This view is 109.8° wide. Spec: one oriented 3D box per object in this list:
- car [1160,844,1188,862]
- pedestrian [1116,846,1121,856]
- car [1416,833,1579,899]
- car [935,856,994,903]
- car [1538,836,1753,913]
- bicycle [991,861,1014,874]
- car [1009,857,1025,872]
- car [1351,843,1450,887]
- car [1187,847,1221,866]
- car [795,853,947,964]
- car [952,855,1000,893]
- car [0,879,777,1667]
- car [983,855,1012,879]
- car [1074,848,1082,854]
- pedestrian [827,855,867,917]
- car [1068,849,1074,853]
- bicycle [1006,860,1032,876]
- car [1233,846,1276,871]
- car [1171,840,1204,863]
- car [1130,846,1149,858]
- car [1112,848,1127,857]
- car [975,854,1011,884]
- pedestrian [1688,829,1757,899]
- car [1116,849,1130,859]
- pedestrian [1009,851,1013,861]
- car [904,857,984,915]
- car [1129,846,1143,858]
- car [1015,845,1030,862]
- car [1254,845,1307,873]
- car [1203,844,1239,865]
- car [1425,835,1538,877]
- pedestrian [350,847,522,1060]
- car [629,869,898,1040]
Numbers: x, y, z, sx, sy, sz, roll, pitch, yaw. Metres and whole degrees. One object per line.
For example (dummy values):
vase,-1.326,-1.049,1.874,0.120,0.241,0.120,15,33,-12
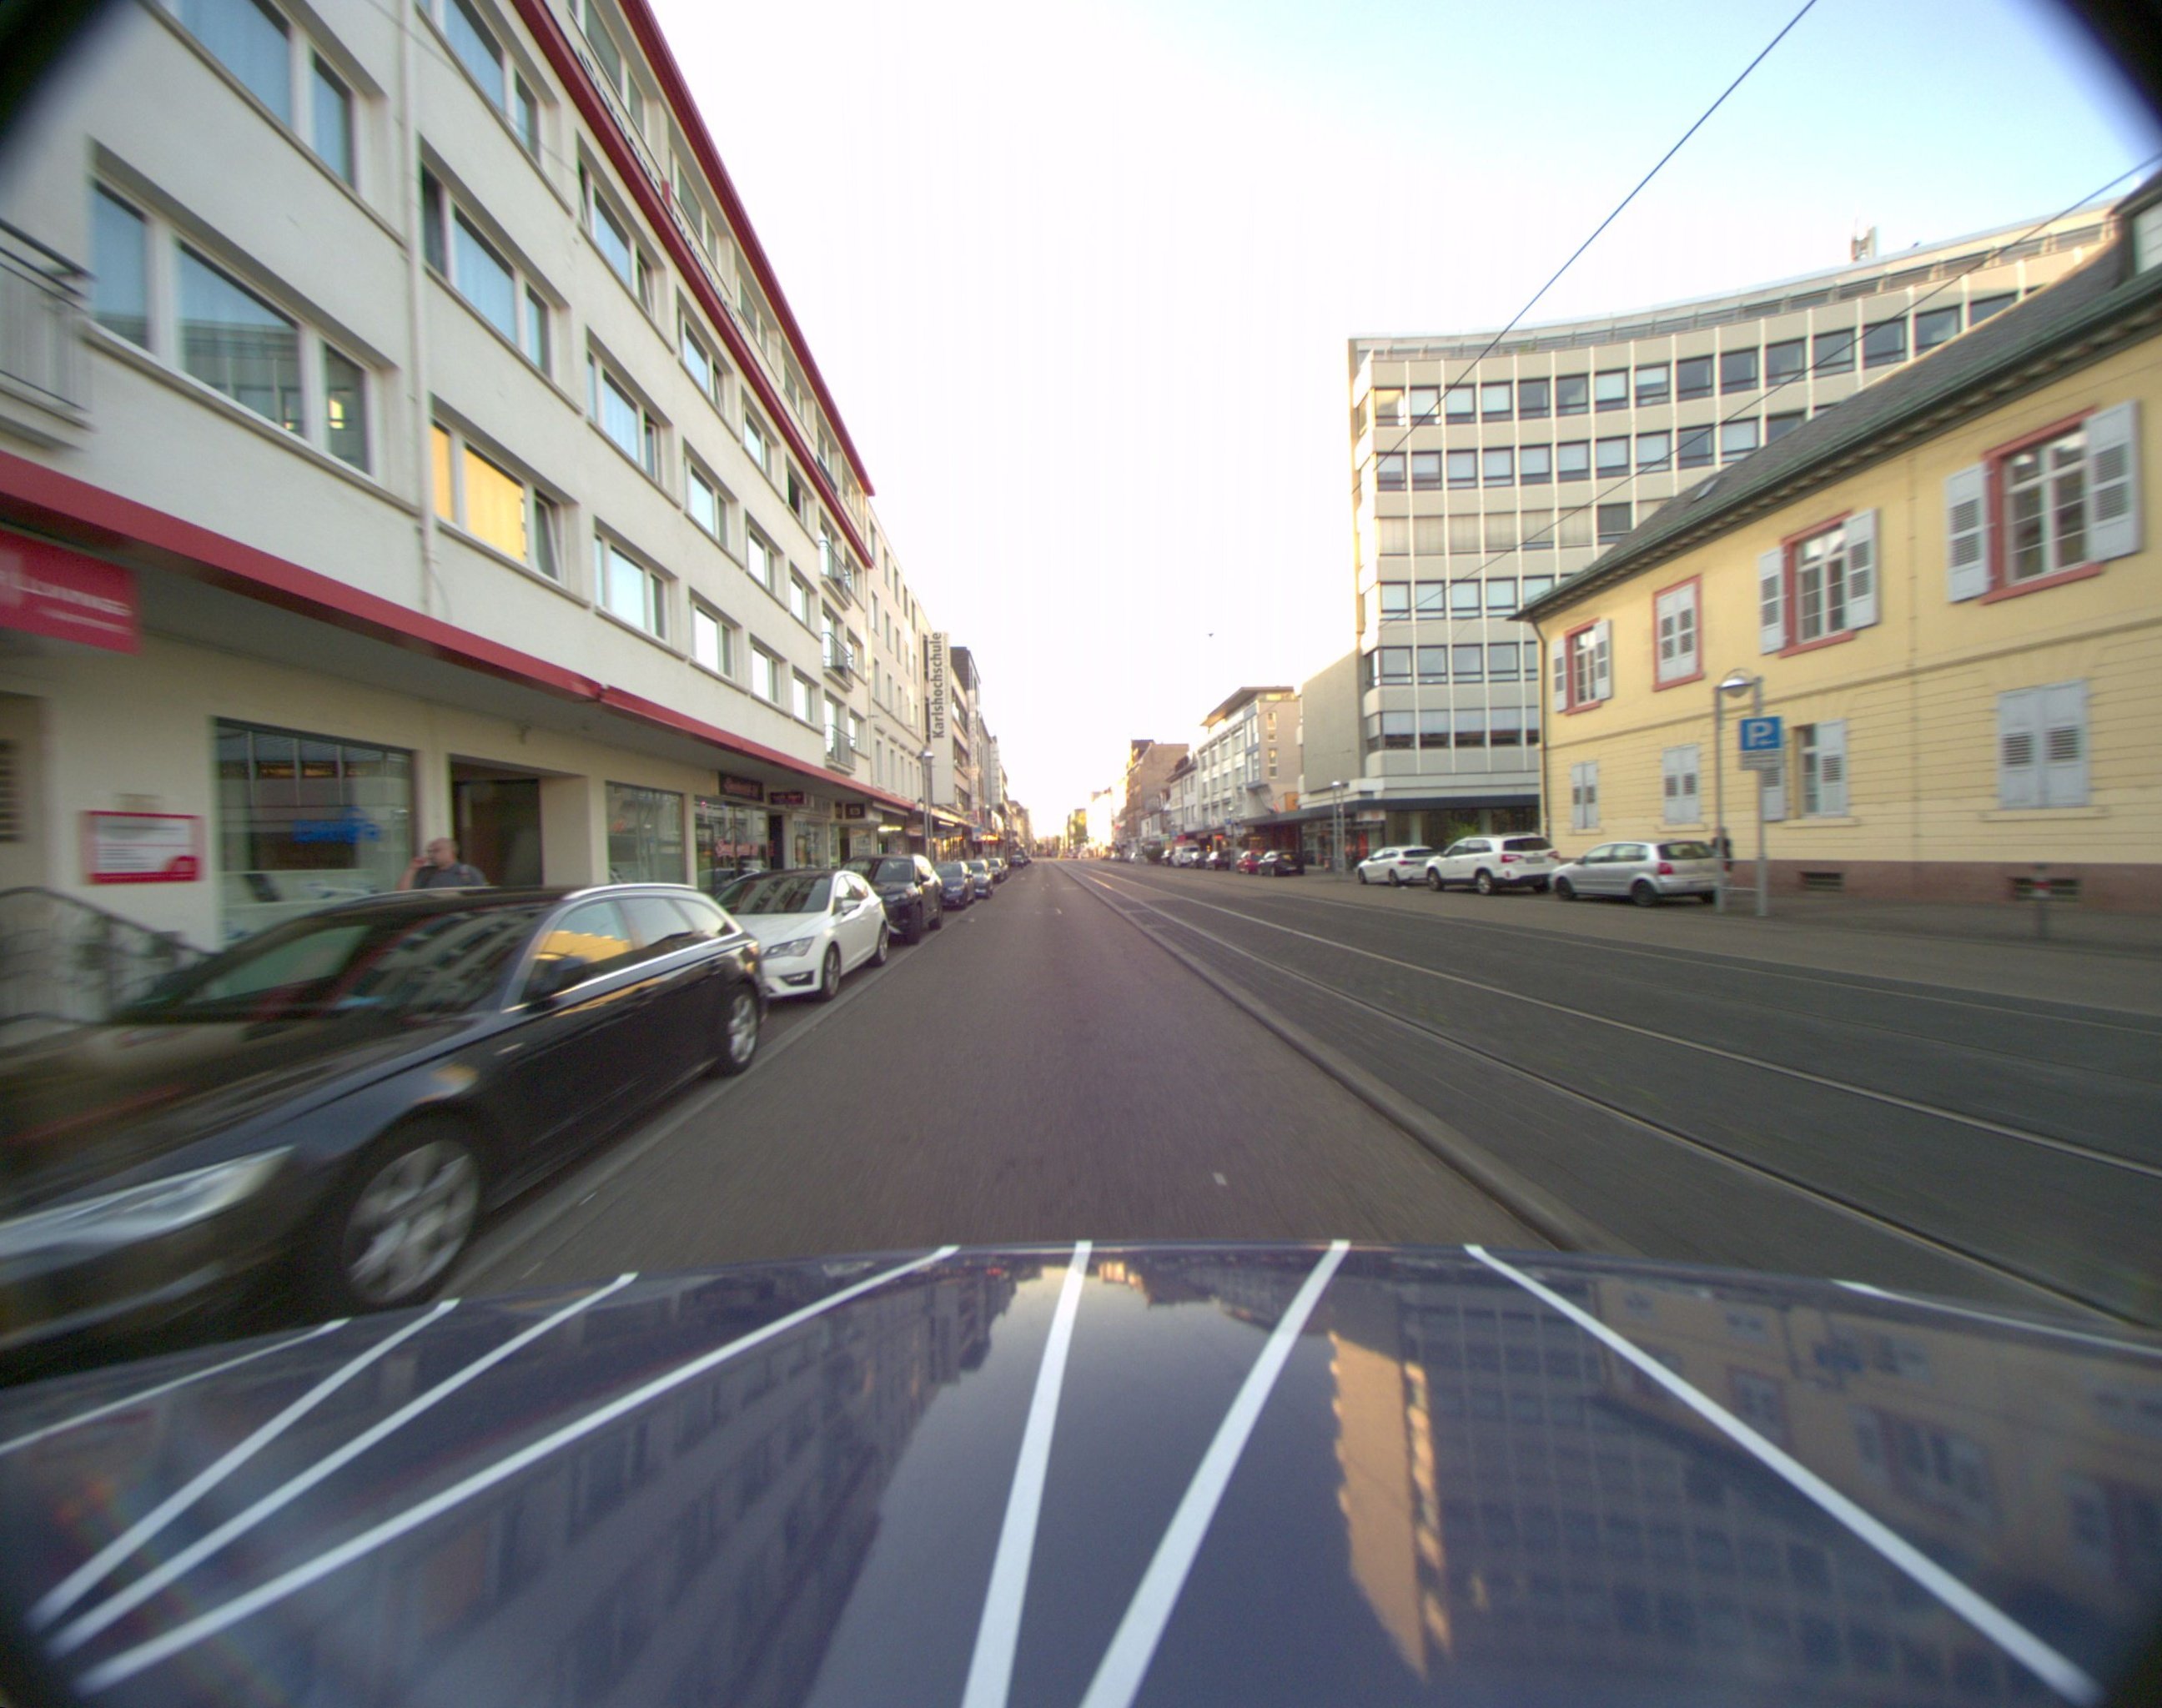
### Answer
car,9.509,-0.098,78.218,1.999,1.687,4.586,-4,1,-3
pedestrian,7.878,-0.697,159.796,0.748,2.003,1.048,-3,3,2
car,12.168,0.314,22.632,1.892,1.651,4.759,-4,0,-5
car,-4.482,0.919,29.930,1.797,1.524,4.854,-4,1,-4
car,12.638,0.420,17.384,1.753,1.465,3.999,-4,0,-3
bicycle,-6.349,1.098,61.609,1.800,0.967,0.575,0,1,-6
car,-7.511,1.223,89.941,1.745,1.532,3.964,-2,1,-3
car,12.021,0.373,28.917,1.725,1.444,4.282,-4,0,-3
car,10.323,0.192,64.147,1.877,1.418,4.569,-4,1,-3
car,-3.868,0.900,14.852,1.861,1.691,4.416,-4,1,-3
car,-4.819,0.880,35.363,1.731,1.473,3.998,-4,1,-3
car,-3.261,0.985,3.724,1.795,1.405,4.685,-4,1,-3
car,-5.683,0.854,52.288,1.659,1.454,4.021,-4,1,-3
car,-0.965,-0.953,221.434,1.999,1.554,3.998,-4,1,-4
pedestrian,-6.137,0.818,19.952,0.735,1.564,0.966,-2,1,-3
car,-3.458,-1.030,259.789,1.999,1.434,3.998,-4,1,-4
bicycle,-4.593,1.042,56.142,1.845,1.103,0.642,-3,1,-6
car,10.880,0.262,47.899,1.696,1.426,3.591,-2,0,-3
car,9.947,-0.257,71.535,1.970,2.002,5.097,-4,1,-4
car,8.120,-0.352,105.880,1.896,1.547,4.621,-4,1,-3
car,7.044,-0.305,139.003,1.999,1.412,4.401,-4,1,-5
car,-5.228,0.860,45.342,1.770,1.505,4.070,-4,1,-3
pedestrian,14.752,0.212,17.491,0.801,1.533,0.877,-3,1,-1
car,7.024,0.039,126.901,1.846,1.484,3.814,-4,1,-2
pedestrian,-11.851,0.353,128.630,0.743,1.746,0.789,0,1,-6
car,-4.169,0.918,23.787,1.786,1.513,4.355,-4,0,-3
car,8.044,-0.276,111.133,1.660,1.562,3.469,-4,1,-1
car,-8.689,-0.096,112.662,2.080,2.434,5.602,-4,1,-4
car,11.185,0.261,42.762,1.696,1.417,3.964,-4,0,-3
car,10.492,0.039,57.316,1.795,1.452,4.090,-1,0,-2
car,17.849,0.075,33.968,3.998,1.544,1.913,-4,1,-5
pedestrian,-6.040,0.874,7.182,0.776,1.869,0.934,-1,1,-4
car,-3.572,1.012,9.455,1.656,1.412,4.189,-4,1,-3
